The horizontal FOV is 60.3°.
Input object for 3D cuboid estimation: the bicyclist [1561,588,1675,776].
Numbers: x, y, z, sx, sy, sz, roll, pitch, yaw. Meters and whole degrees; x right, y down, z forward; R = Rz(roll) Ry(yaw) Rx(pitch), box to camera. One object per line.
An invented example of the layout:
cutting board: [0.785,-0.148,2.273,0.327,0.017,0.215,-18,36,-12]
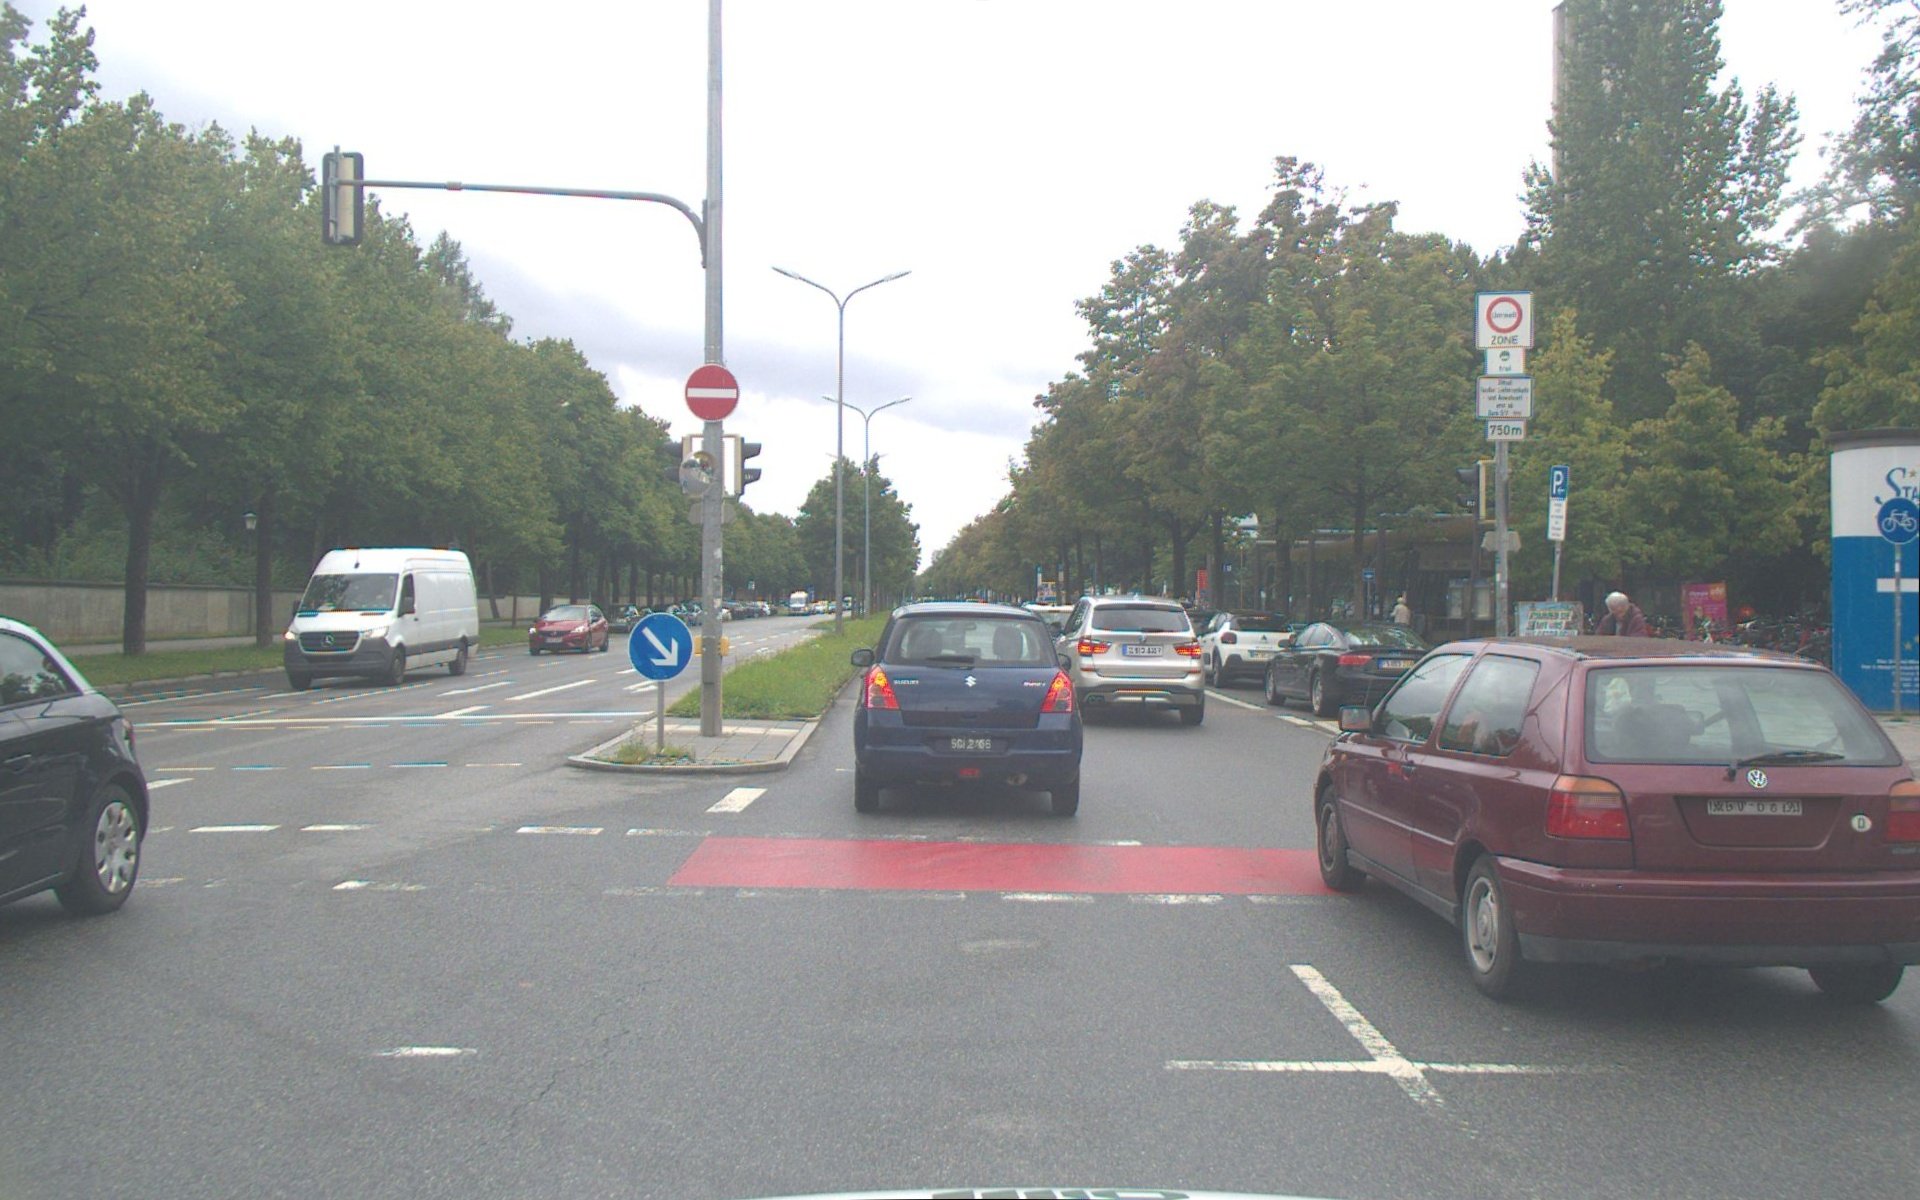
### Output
bicyclist: [6.489,0.780,16.313,0.819,1.795,0.737,0,-1,-37]

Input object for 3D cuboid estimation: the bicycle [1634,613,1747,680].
bicycle: [13.333,0.844,30.222,1.768,1.162,0.568,-2,0,7]

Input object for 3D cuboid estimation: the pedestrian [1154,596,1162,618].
pedestrian: [16.442,0.591,137.392,0.563,1.782,0.732,0,0,3]

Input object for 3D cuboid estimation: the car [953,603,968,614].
car: [0.055,1.212,228.533,1.813,1.472,4.095,0,0,-3]

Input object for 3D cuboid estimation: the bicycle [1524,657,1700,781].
bicycle: [6.425,1.133,16.264,1.927,1.100,0.738,0,0,-38]

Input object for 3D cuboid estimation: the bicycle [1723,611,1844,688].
bicycle: [14.031,0.836,28.199,1.906,1.233,0.565,-1,0,-13]

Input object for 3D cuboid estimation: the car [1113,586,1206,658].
car: [5.186,0.539,43.527,1.712,1.754,4.905,1,0,-1]

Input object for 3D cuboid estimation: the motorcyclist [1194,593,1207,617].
motorcyclist: [18.310,0.388,125.957,0.677,1.767,0.953,-4,0,-2]

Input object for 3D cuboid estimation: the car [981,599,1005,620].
car: [2.634,0.786,133.816,1.729,1.680,4.422,0,0,-2]

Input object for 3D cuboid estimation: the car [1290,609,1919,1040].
car: [2.800,0.792,7.749,1.589,1.479,3.948,0,0,-2]

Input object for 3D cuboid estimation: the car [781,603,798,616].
car: [-19.971,1.112,193.897,1.875,1.569,4.185,0,0,-3]

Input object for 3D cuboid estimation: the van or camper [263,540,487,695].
van or camper: [-11.445,0.310,33.013,2.134,2.693,6.948,-2,0,-2]

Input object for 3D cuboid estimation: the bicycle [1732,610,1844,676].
bicycle: [15.299,0.792,30.579,1.769,1.162,0.567,-2,0,-1]

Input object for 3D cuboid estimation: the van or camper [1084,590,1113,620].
van or camper: [12.296,0.436,146.999,1.983,2.602,5.955,0,0,-1]

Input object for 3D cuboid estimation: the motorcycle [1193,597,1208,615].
motorcycle: [18.322,0.489,125.997,0.682,1.313,2.065,-4,0,-2]

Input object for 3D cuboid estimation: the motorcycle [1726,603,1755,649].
motorcycle: [20.769,0.680,44.035,0.643,1.198,1.813,0,0,23]

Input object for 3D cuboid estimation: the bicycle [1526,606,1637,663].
bicycle: [14.042,0.773,37.378,2.291,1.177,0.529,-2,0,-2]

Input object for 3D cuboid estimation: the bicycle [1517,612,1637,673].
bicycle: [13.016,0.882,34.914,2.291,1.177,0.584,-2,0,-2]

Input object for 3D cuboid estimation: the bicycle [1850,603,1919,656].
bicycle: [22.424,0.689,39.276,2.291,1.177,0.529,-2,0,-2]

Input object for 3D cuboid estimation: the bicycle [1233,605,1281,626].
bicycle: [16.097,0.838,89.727,2.491,1.108,0.647,0,0,-2]

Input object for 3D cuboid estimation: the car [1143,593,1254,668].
car: [5.421,0.652,38.189,1.712,1.574,4.640,-1,0,-2]

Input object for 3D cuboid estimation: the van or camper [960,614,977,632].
van or camper: [0.994,2.629,190.223,1.905,2.009,4.305,0,0,-1]

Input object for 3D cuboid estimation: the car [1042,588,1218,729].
car: [2.249,0.738,22.871,1.813,1.773,4.095,0,0,-3]

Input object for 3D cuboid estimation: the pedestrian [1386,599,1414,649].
pedestrian: [13.746,0.744,51.684,0.570,1.539,0.690,0,0,-20]

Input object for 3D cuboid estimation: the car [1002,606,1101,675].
car: [2.034,0.875,37.712,1.813,1.472,4.095,0,0,-3]

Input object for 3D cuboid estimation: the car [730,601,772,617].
car: [-22.227,0.936,176.166,4.060,1.612,1.896,0,0,-35]

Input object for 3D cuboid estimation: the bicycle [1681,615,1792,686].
bicycle: [13.501,0.876,28.759,1.775,1.162,0.565,-1,0,-13]

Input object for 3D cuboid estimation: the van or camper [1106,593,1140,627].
van or camper: [12.776,0.763,130.129,1.953,2.602,5.955,0,0,-1]

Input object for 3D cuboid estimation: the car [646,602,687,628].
car: [-18.212,0.928,102.802,1.538,1.529,4.304,1,0,2]

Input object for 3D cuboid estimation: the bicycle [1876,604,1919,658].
bicycle: [22.162,0.683,37.669,2.291,1.177,0.529,-2,0,-2]

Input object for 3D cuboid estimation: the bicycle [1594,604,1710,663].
bicycle: [15.169,0.726,36.289,2.291,1.177,0.584,-2,0,-2]

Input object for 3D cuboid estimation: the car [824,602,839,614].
car: [-16.415,0.980,211.512,1.875,1.569,4.185,0,0,-3]

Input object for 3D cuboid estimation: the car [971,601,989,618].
car: [1.977,0.944,162.783,1.650,1.552,4.455,2,0,-1]

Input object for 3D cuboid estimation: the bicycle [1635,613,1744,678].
bicycle: [13.774,0.858,31.257,1.768,1.162,0.567,-2,0,3]

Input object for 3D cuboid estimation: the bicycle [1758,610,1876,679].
bicycle: [15.251,0.790,29.461,1.768,1.162,0.567,-2,0,3]

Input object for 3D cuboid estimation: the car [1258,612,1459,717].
car: [5.885,0.907,24.983,1.676,1.384,4.618,1,0,-3]

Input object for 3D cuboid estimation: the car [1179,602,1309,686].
car: [5.636,0.827,33.257,1.678,1.574,4.379,0,0,-3]

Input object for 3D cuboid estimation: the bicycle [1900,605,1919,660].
bicycle: [22.004,0.678,36.425,2.291,1.177,0.529,-2,0,-2]

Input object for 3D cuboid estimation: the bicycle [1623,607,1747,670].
bicycle: [14.869,0.782,33.943,2.291,1.177,0.584,-2,0,-2]

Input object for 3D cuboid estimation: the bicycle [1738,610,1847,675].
bicycle: [15.707,0.795,31.221,1.769,1.162,0.567,-2,0,-1]

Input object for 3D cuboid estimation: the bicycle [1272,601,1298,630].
bicycle: [14.869,0.691,75.793,0.632,1.303,2.549,0,0,-1]

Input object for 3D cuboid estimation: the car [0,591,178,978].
car: [-4.541,0.719,6.158,1.606,1.513,3.779,0,0,-3]

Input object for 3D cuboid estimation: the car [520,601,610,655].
car: [-12.026,0.821,50.610,1.708,1.477,4.656,-2,0,-2]

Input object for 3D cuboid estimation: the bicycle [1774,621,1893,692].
bicycle: [14.236,0.907,26.959,1.775,1.090,0.565,-1,0,-13]

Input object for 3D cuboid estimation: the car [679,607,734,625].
car: [-20.180,1.278,131.547,3.956,1.378,1.827,0,0,-37]

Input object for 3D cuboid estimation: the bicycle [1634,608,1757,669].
bicycle: [15.379,0.795,34.611,2.291,1.177,0.584,-2,0,-2]

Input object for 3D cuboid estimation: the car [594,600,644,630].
car: [-18.162,0.773,88.231,1.763,1.516,4.913,1,0,-2]

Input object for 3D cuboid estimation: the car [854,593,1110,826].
car: [0.050,0.749,13.310,1.753,1.583,3.997,0,0,-3]

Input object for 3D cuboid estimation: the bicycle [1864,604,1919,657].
bicycle: [22.209,0.684,38.264,2.291,1.177,0.529,-2,0,-2]
